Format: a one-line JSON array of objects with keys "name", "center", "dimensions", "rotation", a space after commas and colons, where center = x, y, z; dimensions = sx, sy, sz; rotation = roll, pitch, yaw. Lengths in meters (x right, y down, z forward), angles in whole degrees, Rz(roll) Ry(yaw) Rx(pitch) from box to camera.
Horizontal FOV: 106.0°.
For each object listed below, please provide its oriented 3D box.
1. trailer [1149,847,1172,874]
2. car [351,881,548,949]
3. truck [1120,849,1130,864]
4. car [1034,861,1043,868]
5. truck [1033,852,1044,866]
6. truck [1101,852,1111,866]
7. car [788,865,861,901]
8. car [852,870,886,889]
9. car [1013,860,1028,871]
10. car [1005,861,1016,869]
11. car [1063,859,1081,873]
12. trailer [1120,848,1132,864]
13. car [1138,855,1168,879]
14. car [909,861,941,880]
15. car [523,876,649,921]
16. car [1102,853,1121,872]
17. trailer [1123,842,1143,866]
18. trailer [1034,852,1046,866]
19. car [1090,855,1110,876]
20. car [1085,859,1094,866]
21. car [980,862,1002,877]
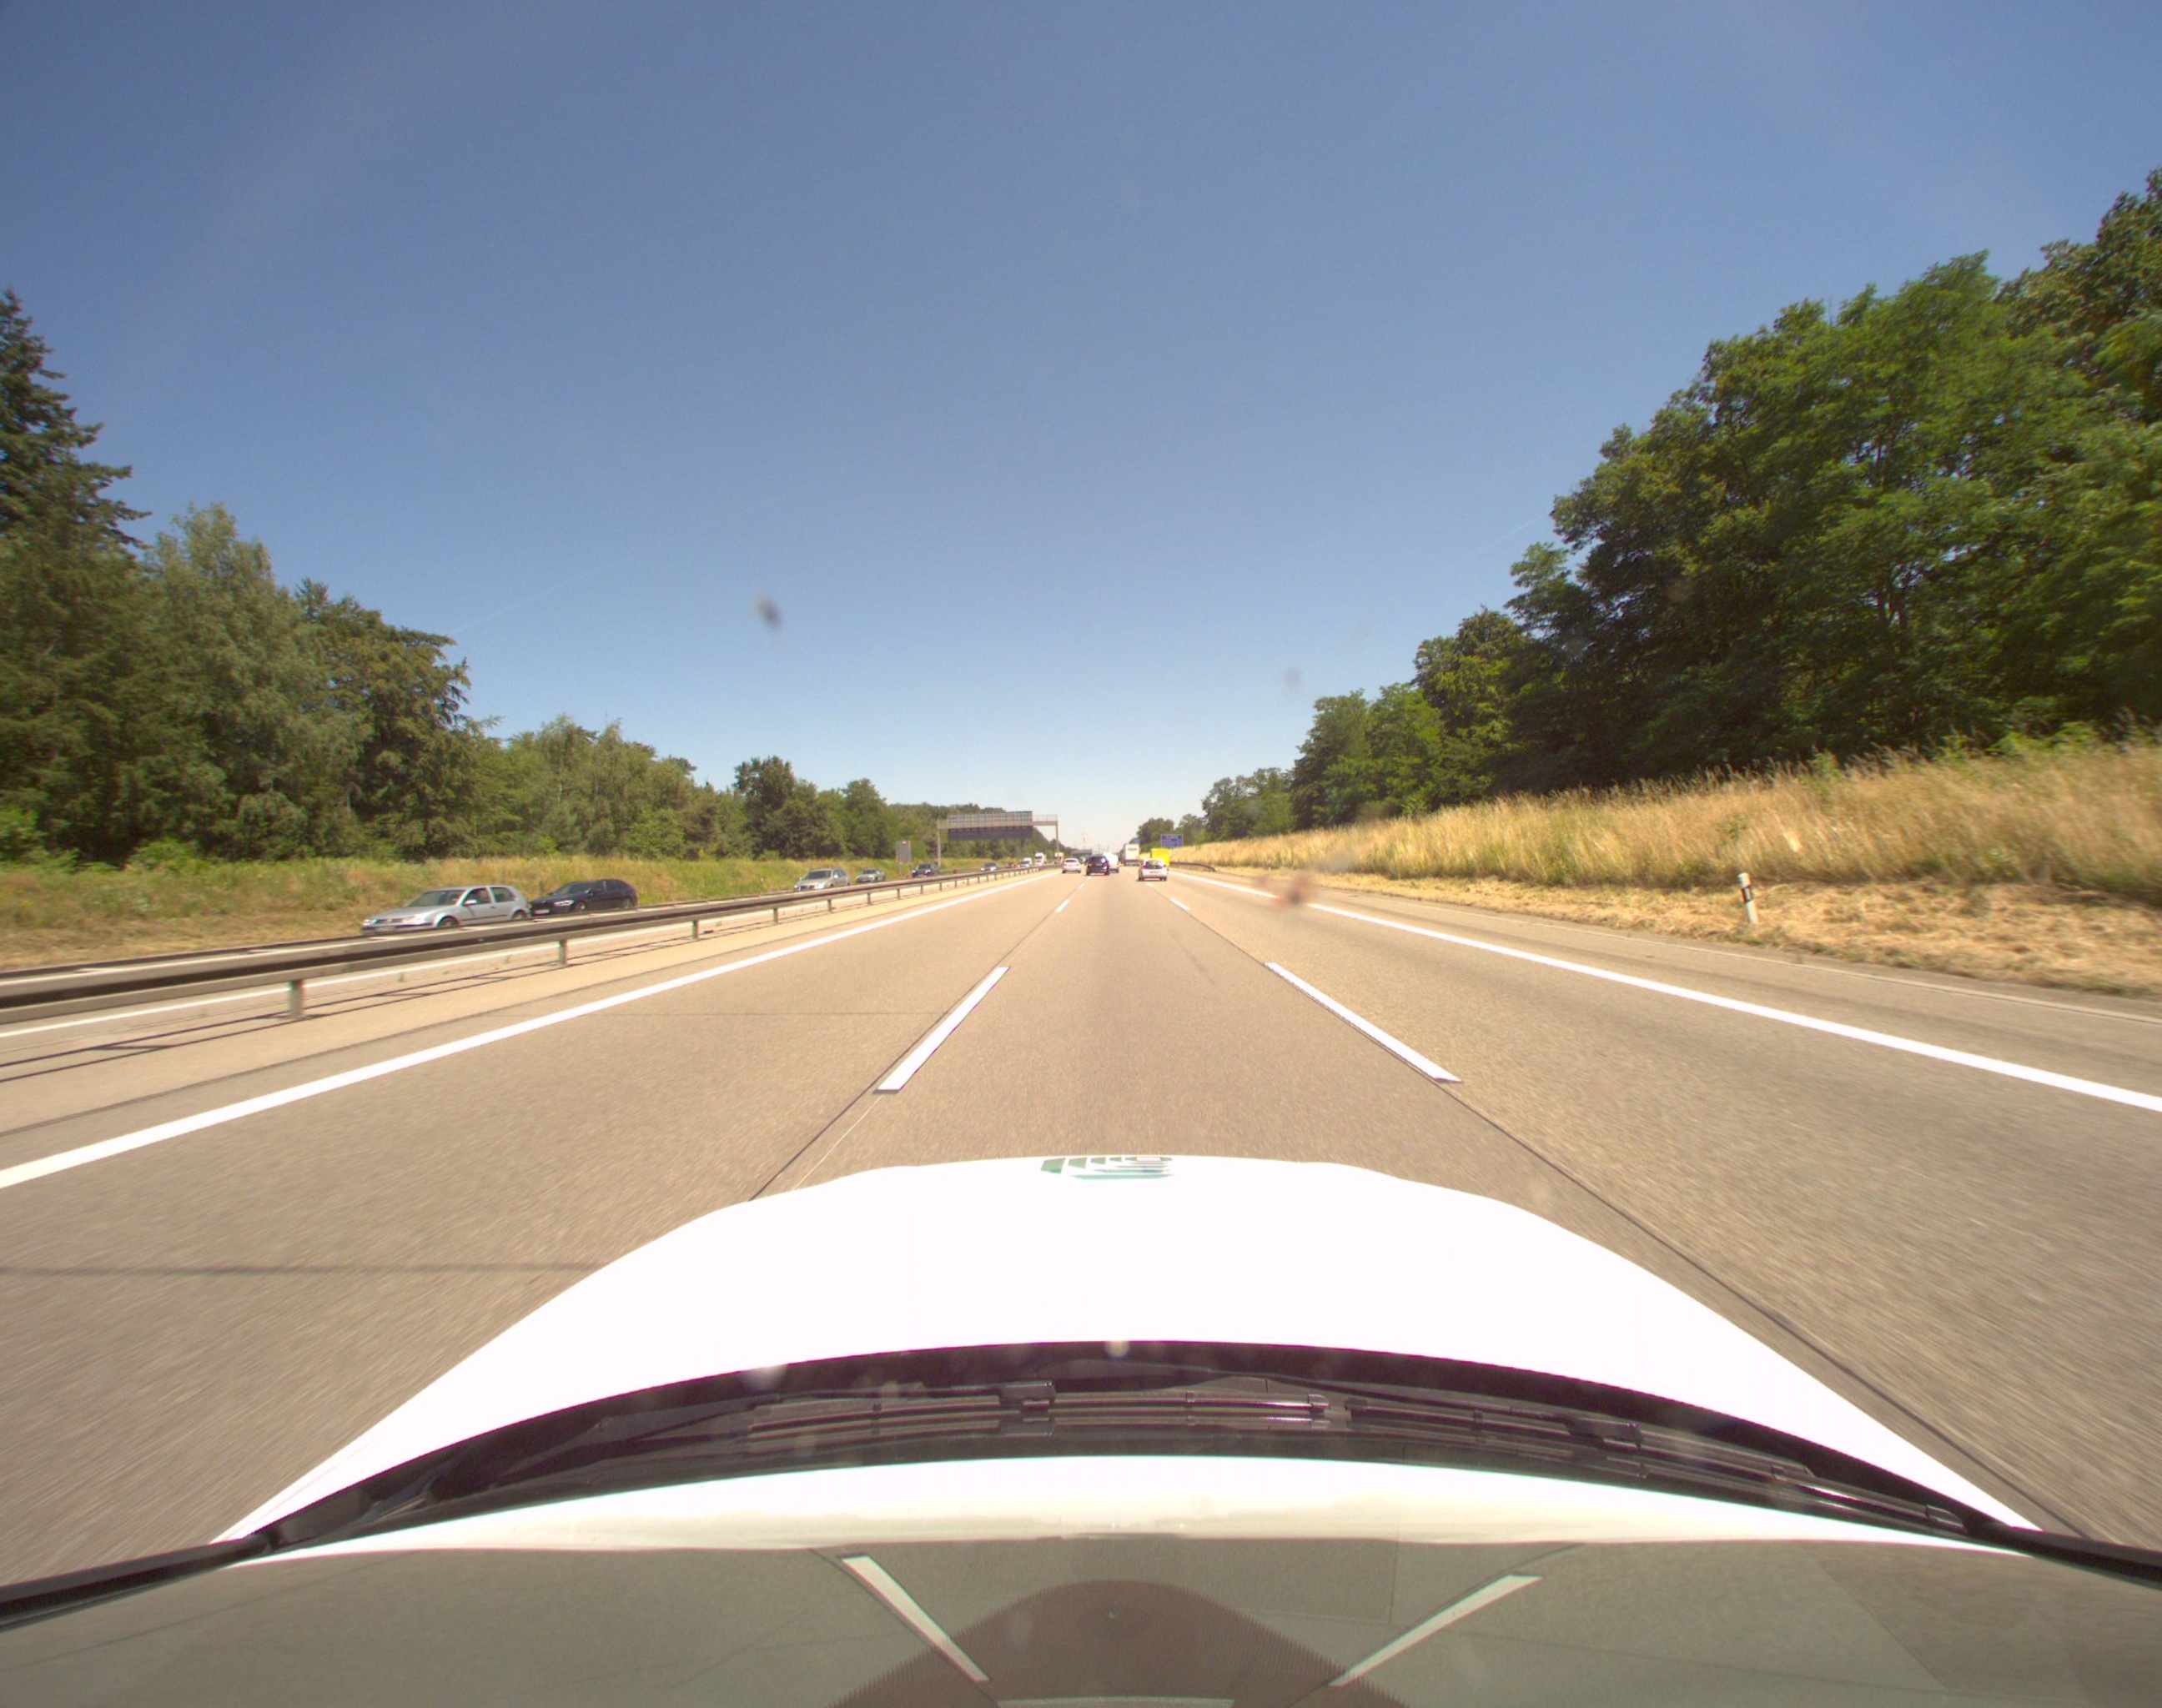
[{"name": "trailer", "center": [6.998, 0.586, 72.206], "dimensions": [1.697, 2.290, 3.840], "rotation": [-1, -1, 1]}, {"name": "car", "center": [-16.702, 1.554, 21.894], "dimensions": [1.755, 1.407, 4.353], "rotation": [-4, 0, 1]}, {"name": "truck", "center": [11.632, 0.650, 215.021], "dimensions": [2.673, 3.837, 4.445], "rotation": [0, -1, 1]}, {"name": "car", "center": [-10.117, 2.498, 194.549], "dimensions": [1.641, 1.499, 4.562], "rotation": [-4, 0, 1]}, {"name": "truck", "center": [-13.169, 1.609, 254.177], "dimensions": [2.615, 3.948, 6.485], "rotation": [-4, 0, 2]}, {"name": "truck", "center": [5.343, 1.096, 176.624], "dimensions": [2.053, 2.914, 7.005], "rotation": [-1, -1, 2]}, {"name": "car", "center": [-12.455, 1.372, 39.872], "dimensions": [1.755, 1.459, 5.122], "rotation": [-4, 0, 1]}, {"name": "car", "center": [-18.882, 2.228, 72.630], "dimensions": [1.665, 1.410, 4.598], "rotation": [-4, 0, 1]}, {"name": "car", "center": [-9.438, 1.748, 127.667], "dimensions": [1.788, 1.474, 4.987], "rotation": [-4, 0, 1]}, {"name": "car", "center": [-15.489, 2.475, 179.038], "dimensions": [1.640, 1.591, 4.613], "rotation": [-4, 0, 2]}, {"name": "car", "center": [-0.922, 1.219, 82.991], "dimensions": [1.663, 1.401, 3.713], "rotation": [-2, 0, 1]}, {"name": "trailer", "center": [11.472, 0.590, 209.175], "dimensions": [2.673, 3.837, 12.013], "rotation": [0, -1, 2]}, {"name": "car", "center": [4.676, 0.853, 53.118], "dimensions": [1.702, 1.495, 4.025], "rotation": [-1, 0, 2]}, {"name": "car", "center": [-14.705, 1.520, 76.993], "dimensions": [1.788, 1.618, 4.987], "rotation": [-4, 0, 1]}, {"name": "car", "center": [-19.435, 1.697, 32.302], "dimensions": [1.648, 1.411, 5.178], "rotation": [-4, 0, 2]}, {"name": "car", "center": [3.095, 0.824, 82.640], "dimensions": [1.808, 1.827, 5.112], "rotation": [-1, -1, 1]}, {"name": "trailer", "center": [9.657, 0.069, 153.064], "dimensions": [3.274, 4.219, 13.568], "rotation": [0, -1, 2]}, {"name": "trailer", "center": [-12.944, 1.616, 260.420], "dimensions": [2.615, 3.948, 11.162], "rotation": [-4, 0, 2]}, {"name": "car", "center": [1.666, 1.005, 70.780], "dimensions": [1.620, 1.755, 3.806], "rotation": [-1, 0, 2]}, {"name": "car", "center": [1.775, 1.801, 169.517], "dimensions": [1.601, 1.300, 3.676], "rotation": [-1, 0, 2]}, {"name": "car", "center": [-9.986, 1.684, 90.510], "dimensions": [1.692, 1.429, 4.575], "rotation": [-4, 0, 1]}]
